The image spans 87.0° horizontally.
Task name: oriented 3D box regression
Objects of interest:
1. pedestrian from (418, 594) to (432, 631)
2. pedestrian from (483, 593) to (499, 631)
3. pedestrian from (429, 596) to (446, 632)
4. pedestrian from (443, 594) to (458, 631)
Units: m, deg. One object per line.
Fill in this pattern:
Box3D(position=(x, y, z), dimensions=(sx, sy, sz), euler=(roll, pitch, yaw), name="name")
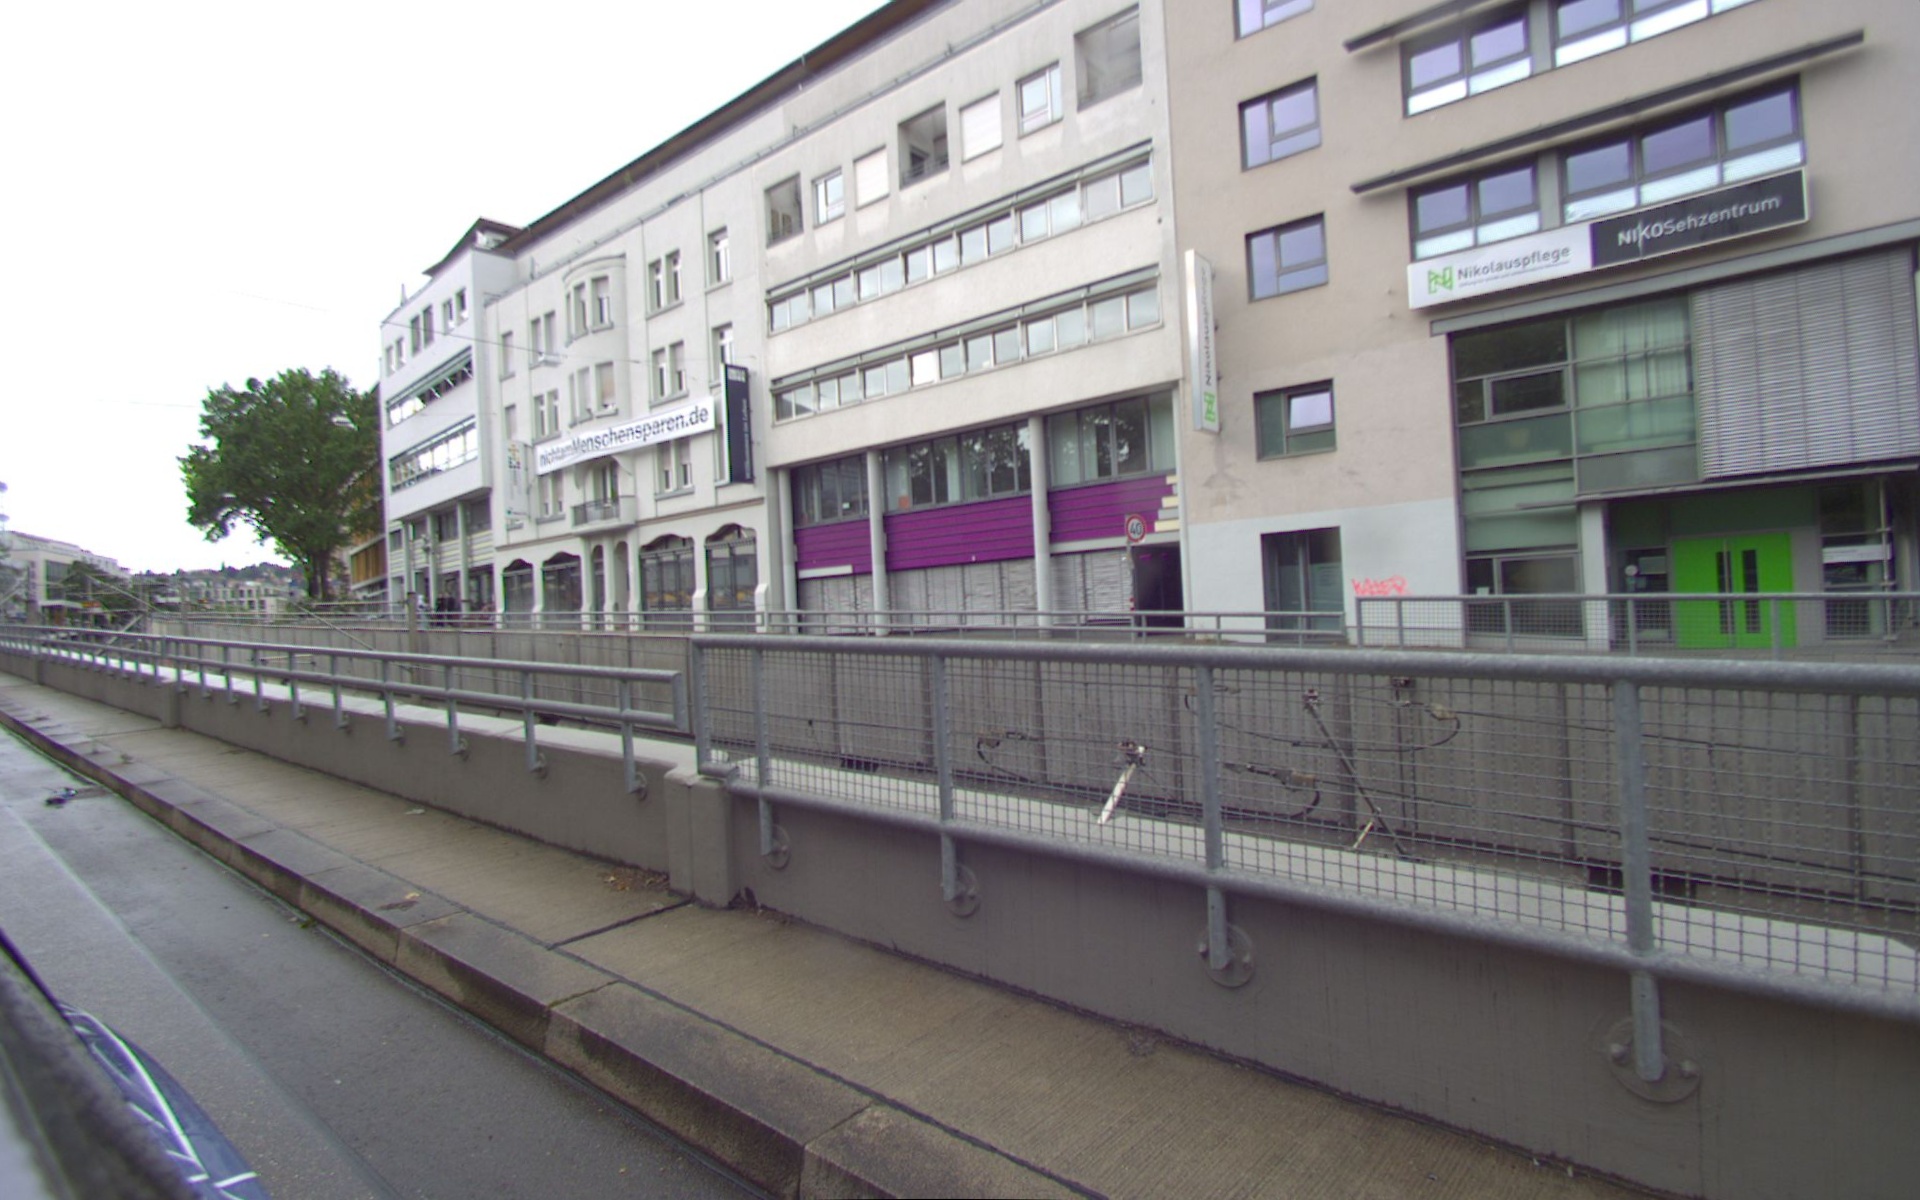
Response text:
Box3D(position=(-26.741, 0.634, 50.598), dimensions=(0.463, 1.816, 0.548), euler=(-3, 1, -42), name="pedestrian")
Box3D(position=(-22.712, 0.588, 49.006), dimensions=(0.547, 1.816, 0.464), euler=(-1, 1, 40), name="pedestrian")
Box3D(position=(-26.427, 0.718, 51.214), dimensions=(0.469, 1.816, 0.541), euler=(-2, 1, 33), name="pedestrian")
Box3D(position=(-25.412, 0.618, 50.466), dimensions=(0.547, 1.816, 0.463), euler=(-2, 1, 44), name="pedestrian")
